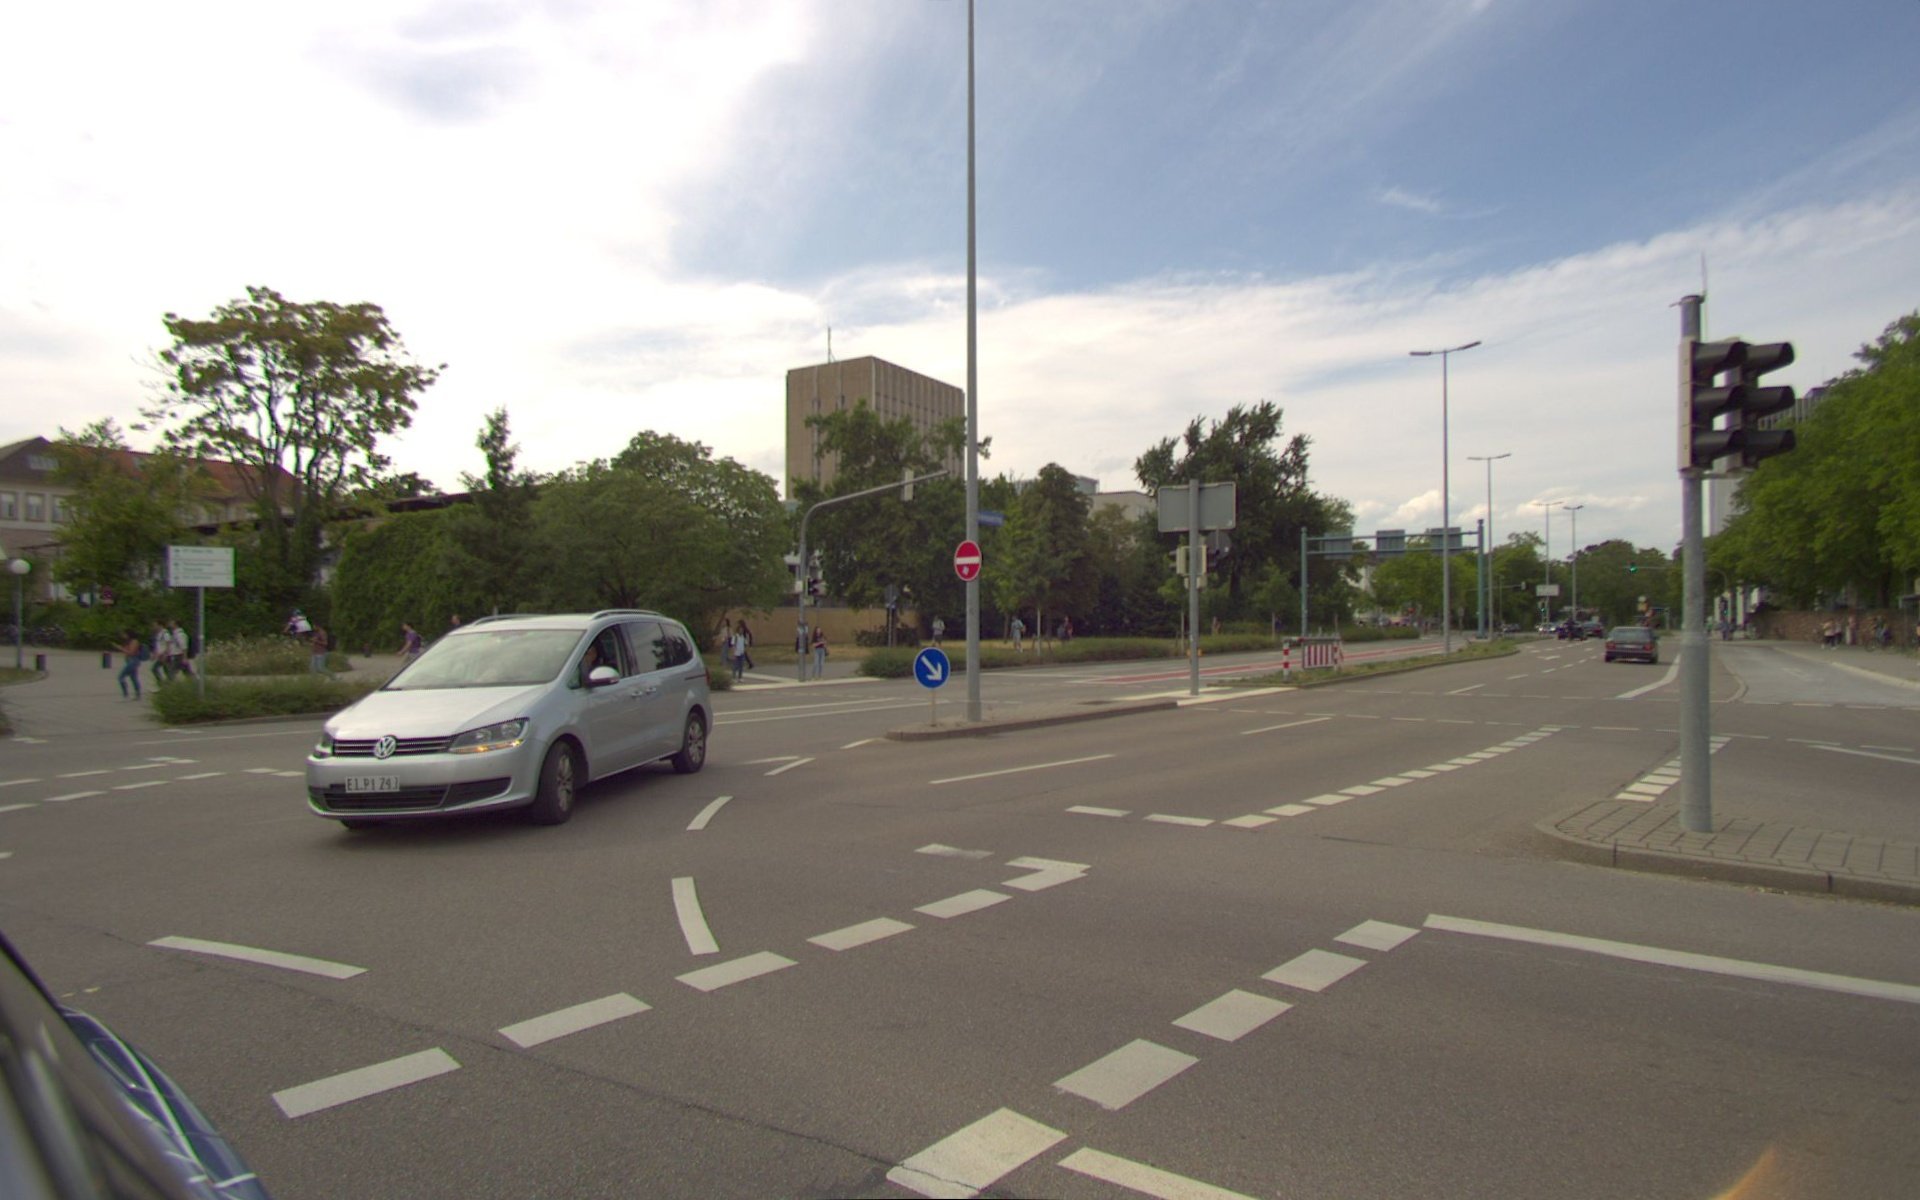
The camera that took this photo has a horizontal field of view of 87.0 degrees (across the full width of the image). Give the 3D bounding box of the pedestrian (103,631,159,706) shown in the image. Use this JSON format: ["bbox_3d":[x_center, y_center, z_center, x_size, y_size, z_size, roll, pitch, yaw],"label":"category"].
[{"bbox_3d":[-18.104,1.479,22.102,0.839,1.554,0.789,1,1,39],"label":"pedestrian"}]

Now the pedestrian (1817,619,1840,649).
[{"bbox_3d":[48.154,1.880,56.117,0.752,1.634,0.659,-3,-3,30],"label":"pedestrian"}]

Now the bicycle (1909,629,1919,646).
[{"bbox_3d":[53.327,2.072,55.887,0.656,0.894,1.567,-4,-3,16],"label":"bicycle"}]

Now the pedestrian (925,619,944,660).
[{"bbox_3d":[-1.089,1.692,43.196,0.543,1.709,0.687,0,0,33],"label":"pedestrian"}]

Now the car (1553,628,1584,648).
[{"bbox_3d":[48.614,3.020,80.847,1.786,1.500,4.080,1,0,36],"label":"car"}]

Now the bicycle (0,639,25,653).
[{"bbox_3d":[-49.827,2.411,52.580,0.667,0.699,1.818,-4,-3,44],"label":"bicycle"}]

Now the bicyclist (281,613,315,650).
[{"bbox_3d":[-23.820,1.142,36.411,0.996,1.287,0.841,-1,-3,-35],"label":"bicyclist"}]

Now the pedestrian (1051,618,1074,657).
[{"bbox_3d":[4.732,1.722,46.617,0.734,1.724,0.684,-4,-3,39],"label":"pedestrian"}]

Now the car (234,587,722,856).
[{"bbox_3d":[-3.807,0.899,9.045,1.803,1.747,4.518,-2,-2,7],"label":"car"}]

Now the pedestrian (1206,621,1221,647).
[{"bbox_3d":[16.974,2.275,67.816,0.713,1.724,0.686,-4,-3,36],"label":"pedestrian"}]

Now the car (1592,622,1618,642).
[{"bbox_3d":[53.726,2.661,84.338,1.785,1.500,4.084,1,0,32],"label":"car"}]

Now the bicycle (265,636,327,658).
[{"bbox_3d":[-23.850,1.683,36.358,1.815,0.699,0.845,-1,-3,-37],"label":"bicycle"}]

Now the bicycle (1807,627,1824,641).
[{"bbox_3d":[59.559,2.372,70.467,0.431,0.894,1.563,-5,-3,25],"label":"bicycle"}]

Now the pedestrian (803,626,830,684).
[{"bbox_3d":[-4.404,1.684,31.048,0.481,1.724,0.580,-4,-3,41],"label":"pedestrian"}]

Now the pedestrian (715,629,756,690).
[{"bbox_3d":[-6.585,1.745,29.646,0.799,1.724,0.828,-4,-3,41],"label":"pedestrian"}]

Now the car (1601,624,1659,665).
[{"bbox_3d":[26.887,1.761,40.702,1.695,1.491,4.368,-3,-2,31],"label":"car"}]

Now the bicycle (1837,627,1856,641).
[{"bbox_3d":[57.161,2.182,65.285,0.431,0.894,1.563,-5,-3,25],"label":"bicycle"}]

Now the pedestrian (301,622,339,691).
[{"bbox_3d":[-16.204,1.429,25.612,0.672,1.724,0.625,-4,-3,39],"label":"pedestrian"}]

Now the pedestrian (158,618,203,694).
[{"bbox_3d":[-18.059,1.285,23.437,0.639,1.724,0.699,-4,-3,39],"label":"pedestrian"}]

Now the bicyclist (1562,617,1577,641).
[{"bbox_3d":[45.056,2.137,74.767,0.777,1.724,1.071,1,-2,39],"label":"bicyclist"}]

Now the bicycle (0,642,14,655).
[{"bbox_3d":[-54.629,2.762,57.106,0.652,0.699,1.818,-4,-3,44],"label":"bicycle"}]

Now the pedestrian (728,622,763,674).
[{"bbox_3d":[-7.214,1.605,34.077,0.834,1.724,0.794,-3,-2,21],"label":"pedestrian"}]

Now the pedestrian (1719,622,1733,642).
[{"bbox_3d":[64.000,2.664,84.537,0.752,1.634,0.659,-3,-3,30],"label":"pedestrian"}]

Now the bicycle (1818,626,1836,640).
[{"bbox_3d":[58.854,2.242,68.731,0.431,0.894,1.563,-5,-3,25],"label":"bicycle"}]

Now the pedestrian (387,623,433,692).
[{"bbox_3d":[-14.250,1.483,26.215,0.839,1.724,0.789,-4,-3,39],"label":"pedestrian"}]

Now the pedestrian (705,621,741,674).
[{"bbox_3d":[-8.040,1.603,34.325,0.834,1.724,0.794,-3,-2,21],"label":"pedestrian"}]

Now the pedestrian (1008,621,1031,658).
[{"bbox_3d":[2.845,1.909,48.437,0.839,1.724,0.687,-4,-3,33],"label":"pedestrian"}]

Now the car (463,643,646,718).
[{"bbox_3d":[-8.982,1.740,22.539,3.405,1.426,1.673,0,-3,-44],"label":"car"}]

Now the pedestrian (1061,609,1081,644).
[{"bbox_3d":[5.666,1.356,51.672,0.713,1.724,0.686,-4,-3,36],"label":"pedestrian"}]

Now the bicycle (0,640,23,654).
[{"bbox_3d":[-50.968,2.496,53.690,0.652,0.699,1.818,-4,-3,44],"label":"bicycle"}]

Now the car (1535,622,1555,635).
[{"bbox_3d":[74.073,3.601,128.108,1.786,1.500,4.080,1,0,36],"label":"car"}]

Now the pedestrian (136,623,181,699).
[{"bbox_3d":[-18.770,1.417,23.705,0.639,1.724,0.699,-4,-3,39],"label":"pedestrian"}]

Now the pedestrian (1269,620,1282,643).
[{"bbox_3d":[23.845,2.359,76.457,0.713,1.724,0.686,-4,-3,36],"label":"pedestrian"}]

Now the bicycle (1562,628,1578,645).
[{"bbox_3d":[45.038,2.684,74.761,0.758,1.198,2.071,1,-1,38],"label":"bicycle"}]

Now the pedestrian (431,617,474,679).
[{"bbox_3d":[-14.443,1.367,28.803,0.839,1.724,0.789,-4,-3,39],"label":"pedestrian"}]

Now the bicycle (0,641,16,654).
[{"bbox_3d":[-52.170,2.576,54.605,0.652,0.699,1.818,-4,-3,44],"label":"bicycle"}]

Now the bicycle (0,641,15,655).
[{"bbox_3d":[-53.363,2.665,55.782,0.652,0.699,1.818,-4,-3,44],"label":"bicycle"}]

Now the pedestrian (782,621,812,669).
[{"bbox_3d":[-5.922,1.629,36.780,0.712,1.724,0.791,-4,-3,33],"label":"pedestrian"}]

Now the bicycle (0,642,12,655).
[{"bbox_3d":[-53.999,2.708,56.289,0.652,0.699,1.818,-4,-3,44],"label":"bicycle"}]
